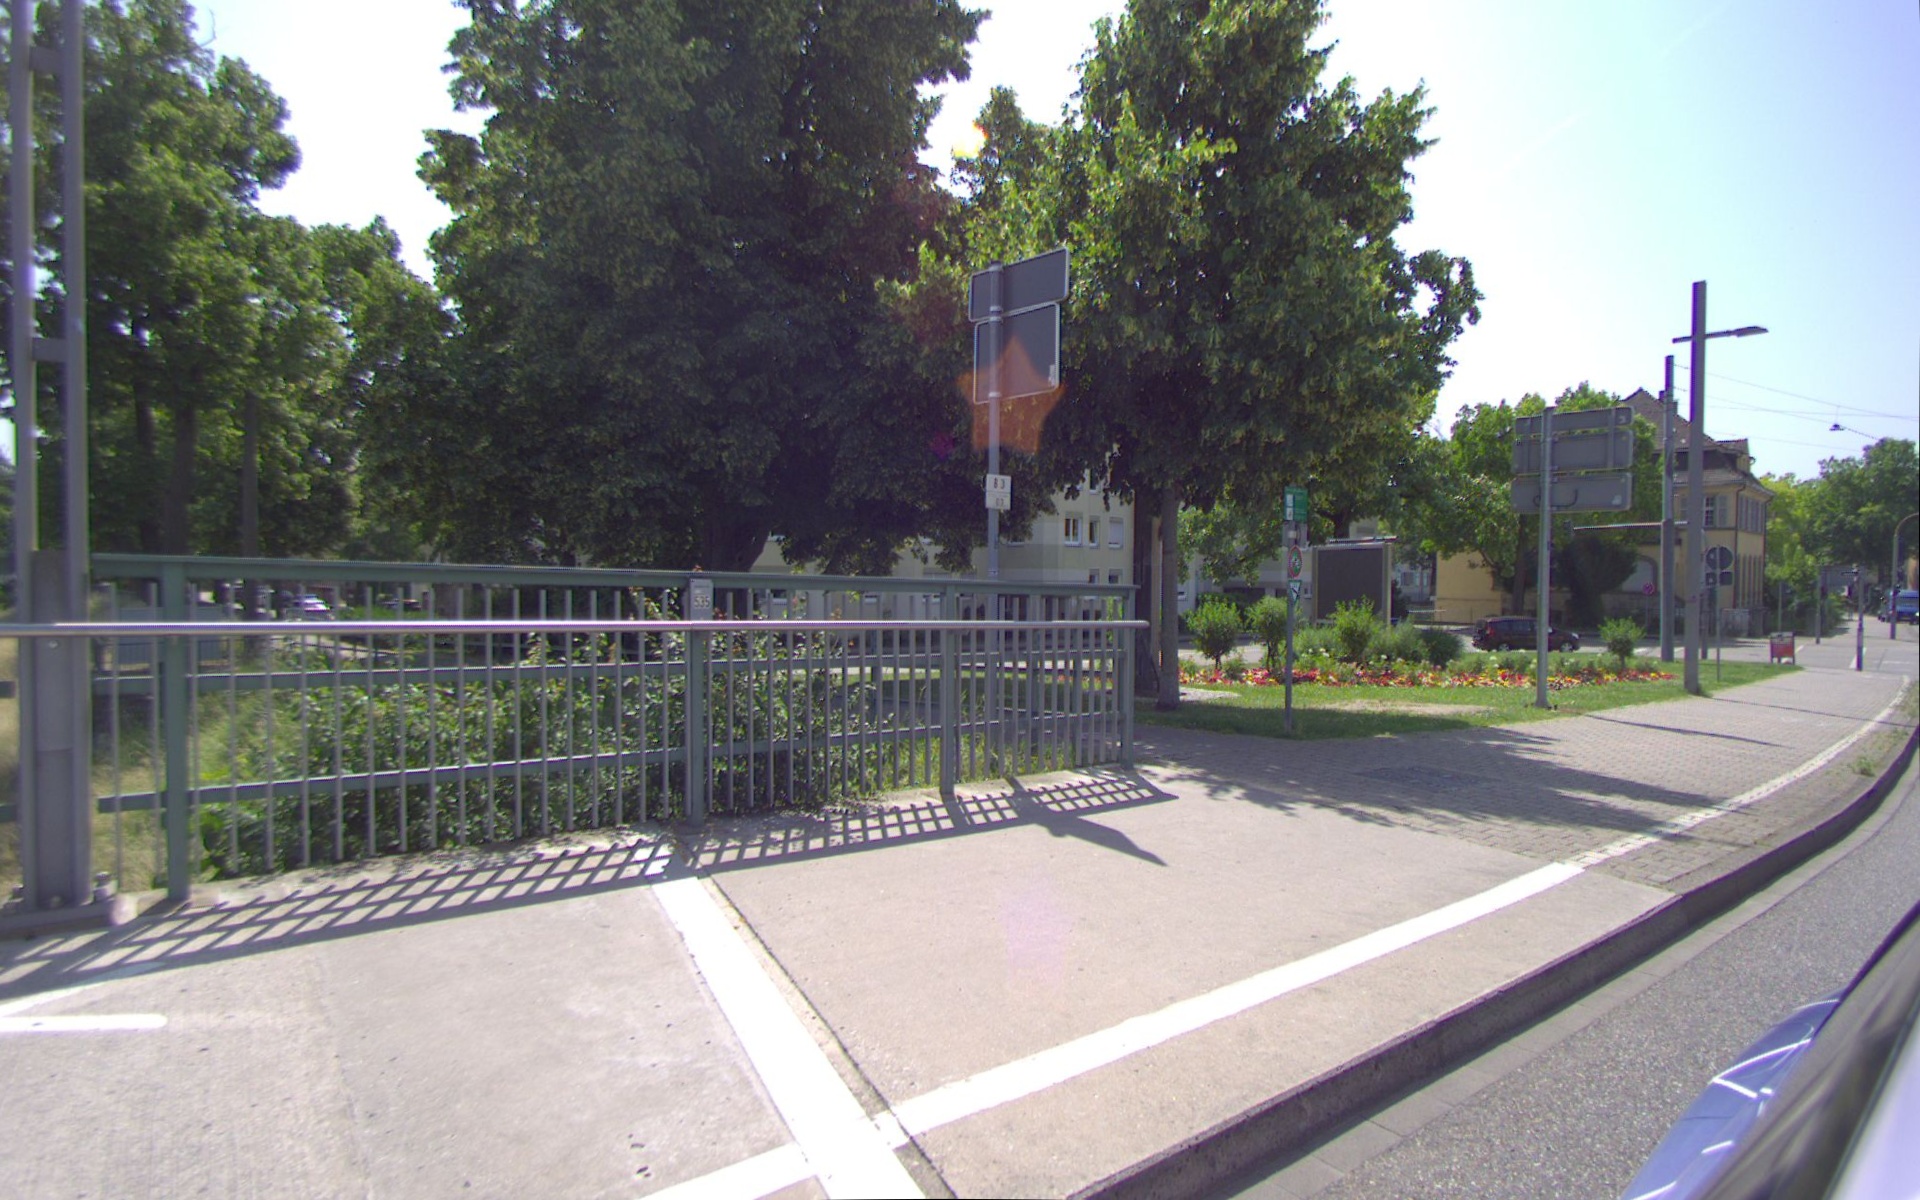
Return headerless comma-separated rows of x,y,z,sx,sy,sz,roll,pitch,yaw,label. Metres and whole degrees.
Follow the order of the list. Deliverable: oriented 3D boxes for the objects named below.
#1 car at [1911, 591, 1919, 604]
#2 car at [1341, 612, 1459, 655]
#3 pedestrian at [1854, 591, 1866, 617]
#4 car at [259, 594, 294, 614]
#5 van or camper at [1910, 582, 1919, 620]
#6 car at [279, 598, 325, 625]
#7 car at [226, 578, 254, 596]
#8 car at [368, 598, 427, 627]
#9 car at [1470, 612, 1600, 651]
107.288,-0.208,112.303,1.609,1.473,3.669,7,4,31,car
19.945,1.504,45.893,4.668,1.721,2.005,0,2,-16,car
68.537,0.283,77.053,0.619,1.942,0.732,3,2,43,pedestrian
-55.479,0.315,82.132,1.797,1.572,3.992,1,-1,-42,car
71.475,0.047,74.556,2.159,2.613,5.755,1,2,43,van or camper
-39.544,0.666,60.798,1.563,1.572,3.739,1,-1,-44,car
-68.994,-1.244,96.964,1.797,1.572,3.992,1,-1,-42,car
-31.923,0.704,57.393,3.986,1.572,1.800,0,-1,43,car
25.904,1.416,45.700,4.730,1.652,1.917,0,2,3,car
